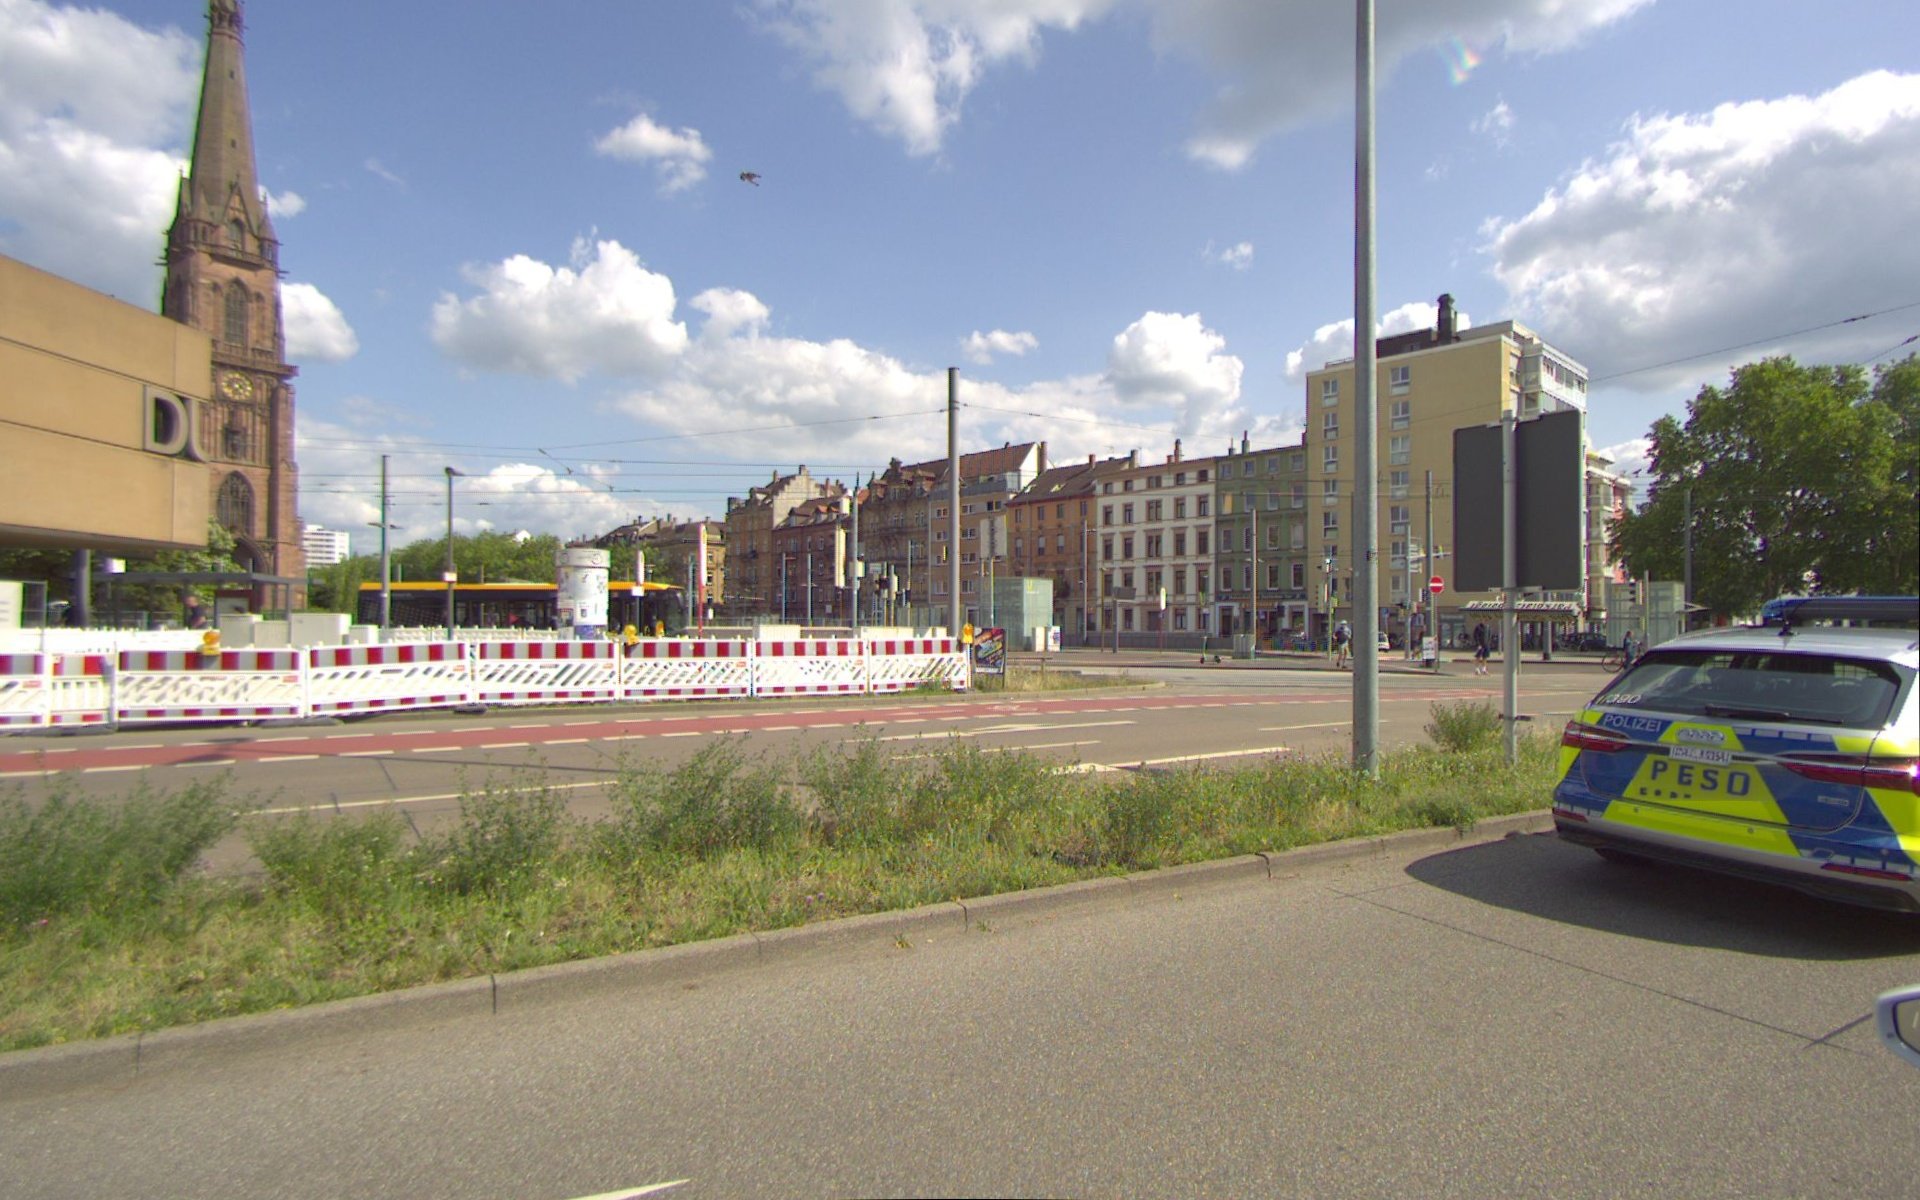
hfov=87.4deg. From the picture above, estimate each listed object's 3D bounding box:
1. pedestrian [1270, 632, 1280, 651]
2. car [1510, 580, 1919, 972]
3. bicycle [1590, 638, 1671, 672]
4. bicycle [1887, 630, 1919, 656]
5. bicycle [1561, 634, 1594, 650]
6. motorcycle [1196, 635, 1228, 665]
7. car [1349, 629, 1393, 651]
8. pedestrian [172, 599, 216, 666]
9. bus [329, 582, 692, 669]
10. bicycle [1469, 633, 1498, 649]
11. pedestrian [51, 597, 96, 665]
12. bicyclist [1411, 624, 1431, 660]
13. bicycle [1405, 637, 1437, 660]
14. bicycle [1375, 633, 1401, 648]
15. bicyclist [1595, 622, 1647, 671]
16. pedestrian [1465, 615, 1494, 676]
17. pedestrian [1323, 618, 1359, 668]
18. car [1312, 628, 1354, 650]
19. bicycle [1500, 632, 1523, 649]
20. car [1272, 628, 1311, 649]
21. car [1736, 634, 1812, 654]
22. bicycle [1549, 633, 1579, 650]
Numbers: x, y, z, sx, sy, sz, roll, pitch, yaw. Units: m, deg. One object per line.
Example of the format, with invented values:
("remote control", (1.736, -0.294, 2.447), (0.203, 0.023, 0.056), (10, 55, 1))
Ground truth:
("pedestrian", (25.024, 3.294, 79.744), (0.685, 1.554, 0.556), (0, -2, 8))
("car", (5.485, 0.773, 5.921), (4.561, 1.589, 1.871), (1, -2, -30))
("bicycle", (24.595, 1.997, 36.911), (0.984, 1.204, 2.281), (2, -3, -32))
("bicycle", (54.424, 2.455, 57.366), (0.807, 1.433, 2.146), (0, 0, -44))
("bicycle", (44.765, 3.039, 72.820), (1.922, 1.162, 0.792), (0, -1, 43))
("motorcycle", (10.596, 2.107, 42.325), (0.478, 1.253, 1.437), (2, -2, -27))
("car", (29.658, 2.872, 72.577), (1.861, 1.516, 3.903), (1, -2, 5))
("pedestrian", (-19.030, 0.806, 24.968), (0.549, 1.651, 0.732), (1, -1, -7))
("bus", (-16.940, 0.974, 38.389), (12.586, 3.177, 2.835), (0, -1, 1))
("bicycle", (38.585, 3.021, 74.036), (1.783, 1.118, 0.792), (0, -1, 42))
("pedestrian", (-21.846, 0.771, 24.775), (0.760, 1.653, 0.645), (3, -2, -41))
("bicyclist", (24.445, 2.221, 53.251), (0.768, 1.821, 0.706), (2, 0, 42))
("bicycle", (24.418, 2.542, 53.207), (0.877, 1.153, 2.345), (2, 0, 41))
("bicycle", (33.751, 3.208, 79.226), (1.783, 1.118, 0.792), (0, -1, 42))
("bicyclist", (24.443, 1.707, 37.163), (0.984, 1.753, 1.290), (2, -2, -32))
("pedestrian", (16.875, 1.472, 32.631), (0.753, 1.928, 0.825), (2, 0, 29))
("pedestrian", (14.223, 1.604, 37.509), (1.015, 1.821, 0.762), (2, 0, -27))
("car", (27.304, 2.856, 73.548), (1.861, 1.516, 3.902), (1, -2, 4))
("bicycle", (40.687, 2.987, 74.097), (1.791, 1.275, 0.789), (1, -1, -34))
("car", (25.120, 2.920, 76.206), (1.861, 1.516, 3.902), (1, -2, 4))
("car", (59.005, 3.190, 72.889), (1.615, 1.344, 3.967), (3, -3, -31))
("bicycle", (43.527, 2.985, 72.400), (1.784, 1.162, 0.792), (0, -1, 43))
